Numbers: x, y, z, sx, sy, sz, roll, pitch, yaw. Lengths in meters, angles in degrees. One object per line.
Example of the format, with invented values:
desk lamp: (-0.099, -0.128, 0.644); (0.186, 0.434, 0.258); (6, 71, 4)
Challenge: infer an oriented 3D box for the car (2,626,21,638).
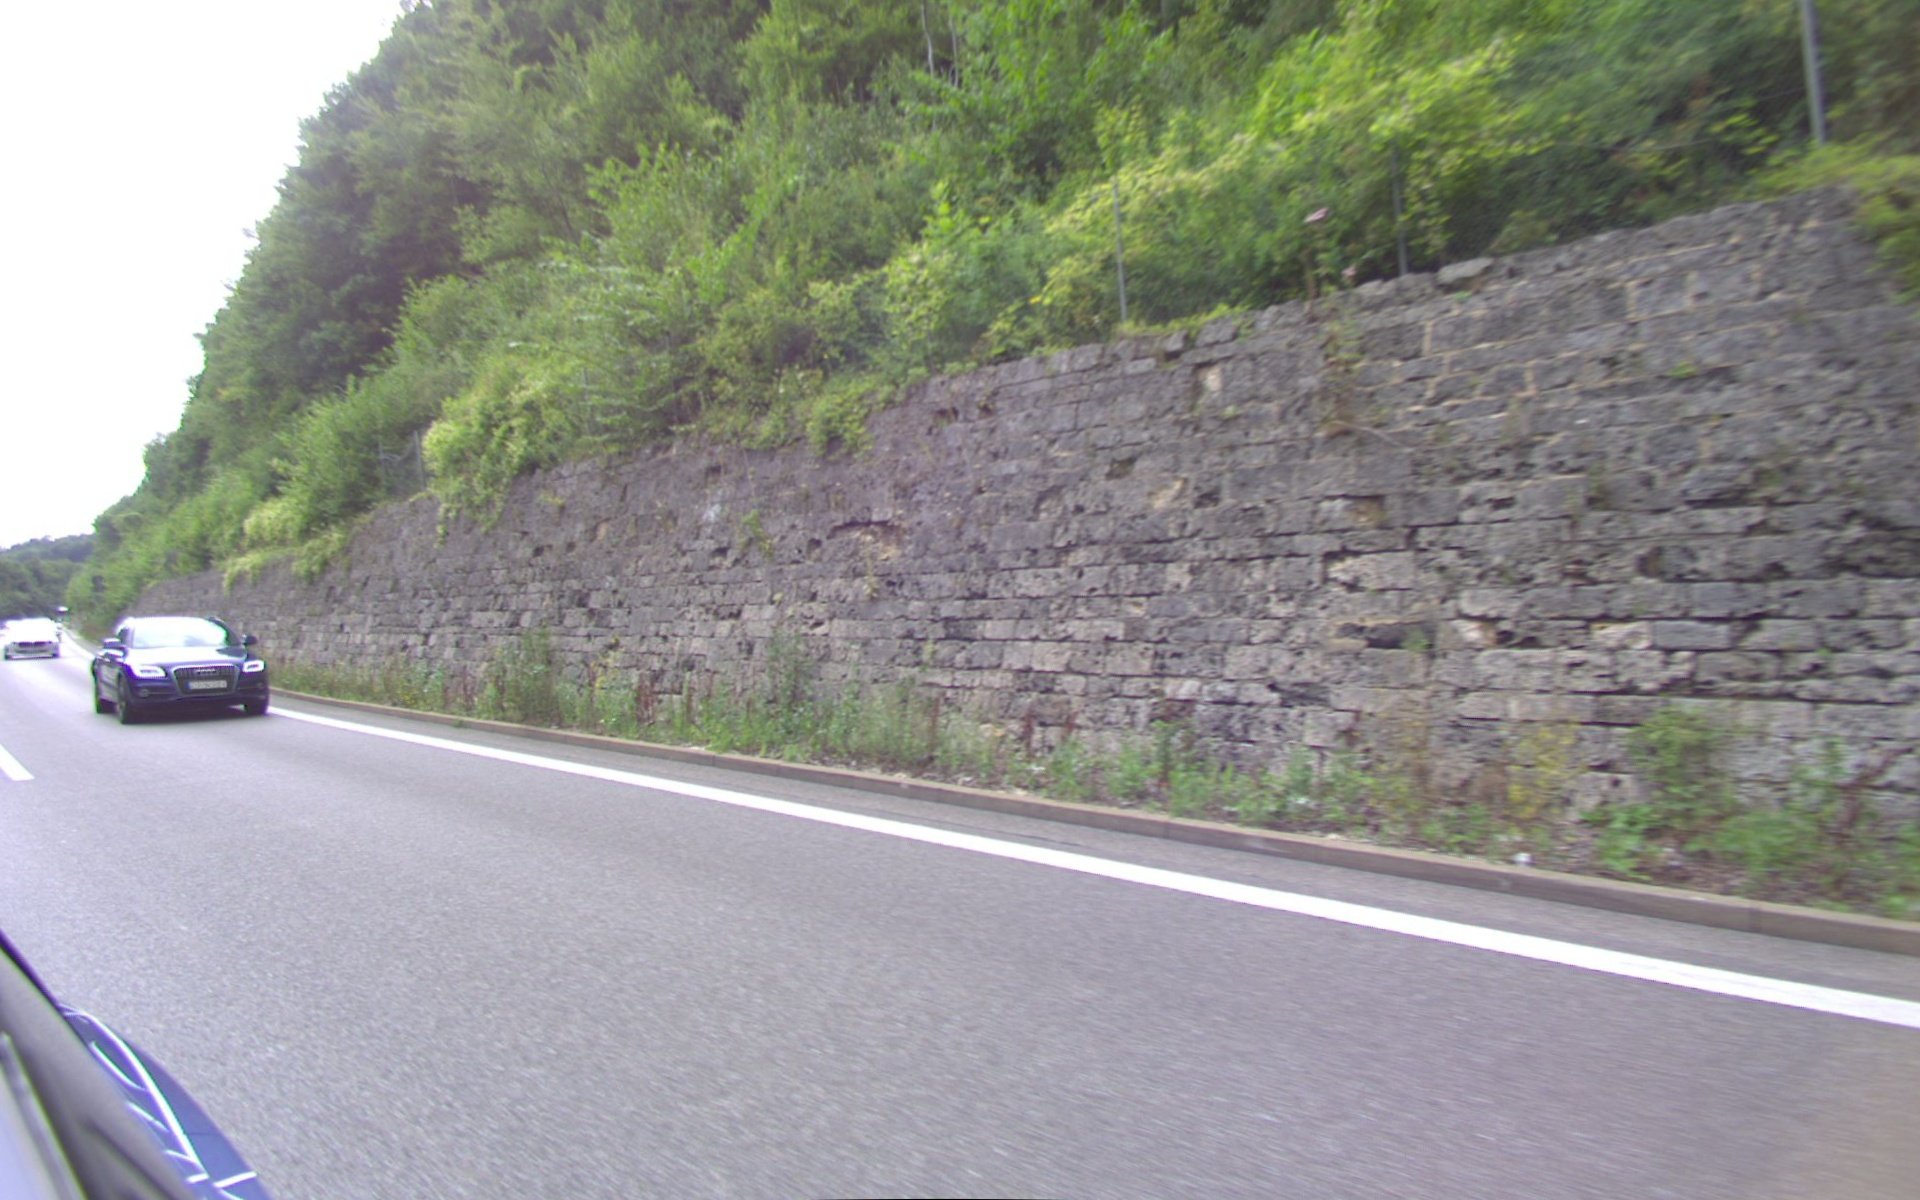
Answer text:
car: (-142.750, 4.815, 152.315); (1.796, 1.567, 4.006); (0, -2, -40)

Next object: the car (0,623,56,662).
car: (-40.522, 1.864, 44.016); (1.796, 1.567, 4.005); (0, -2, -42)

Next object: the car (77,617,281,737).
car: (-13.525, 1.170, 17.369); (5.587, 1.605, 1.949); (0, 2, 44)
